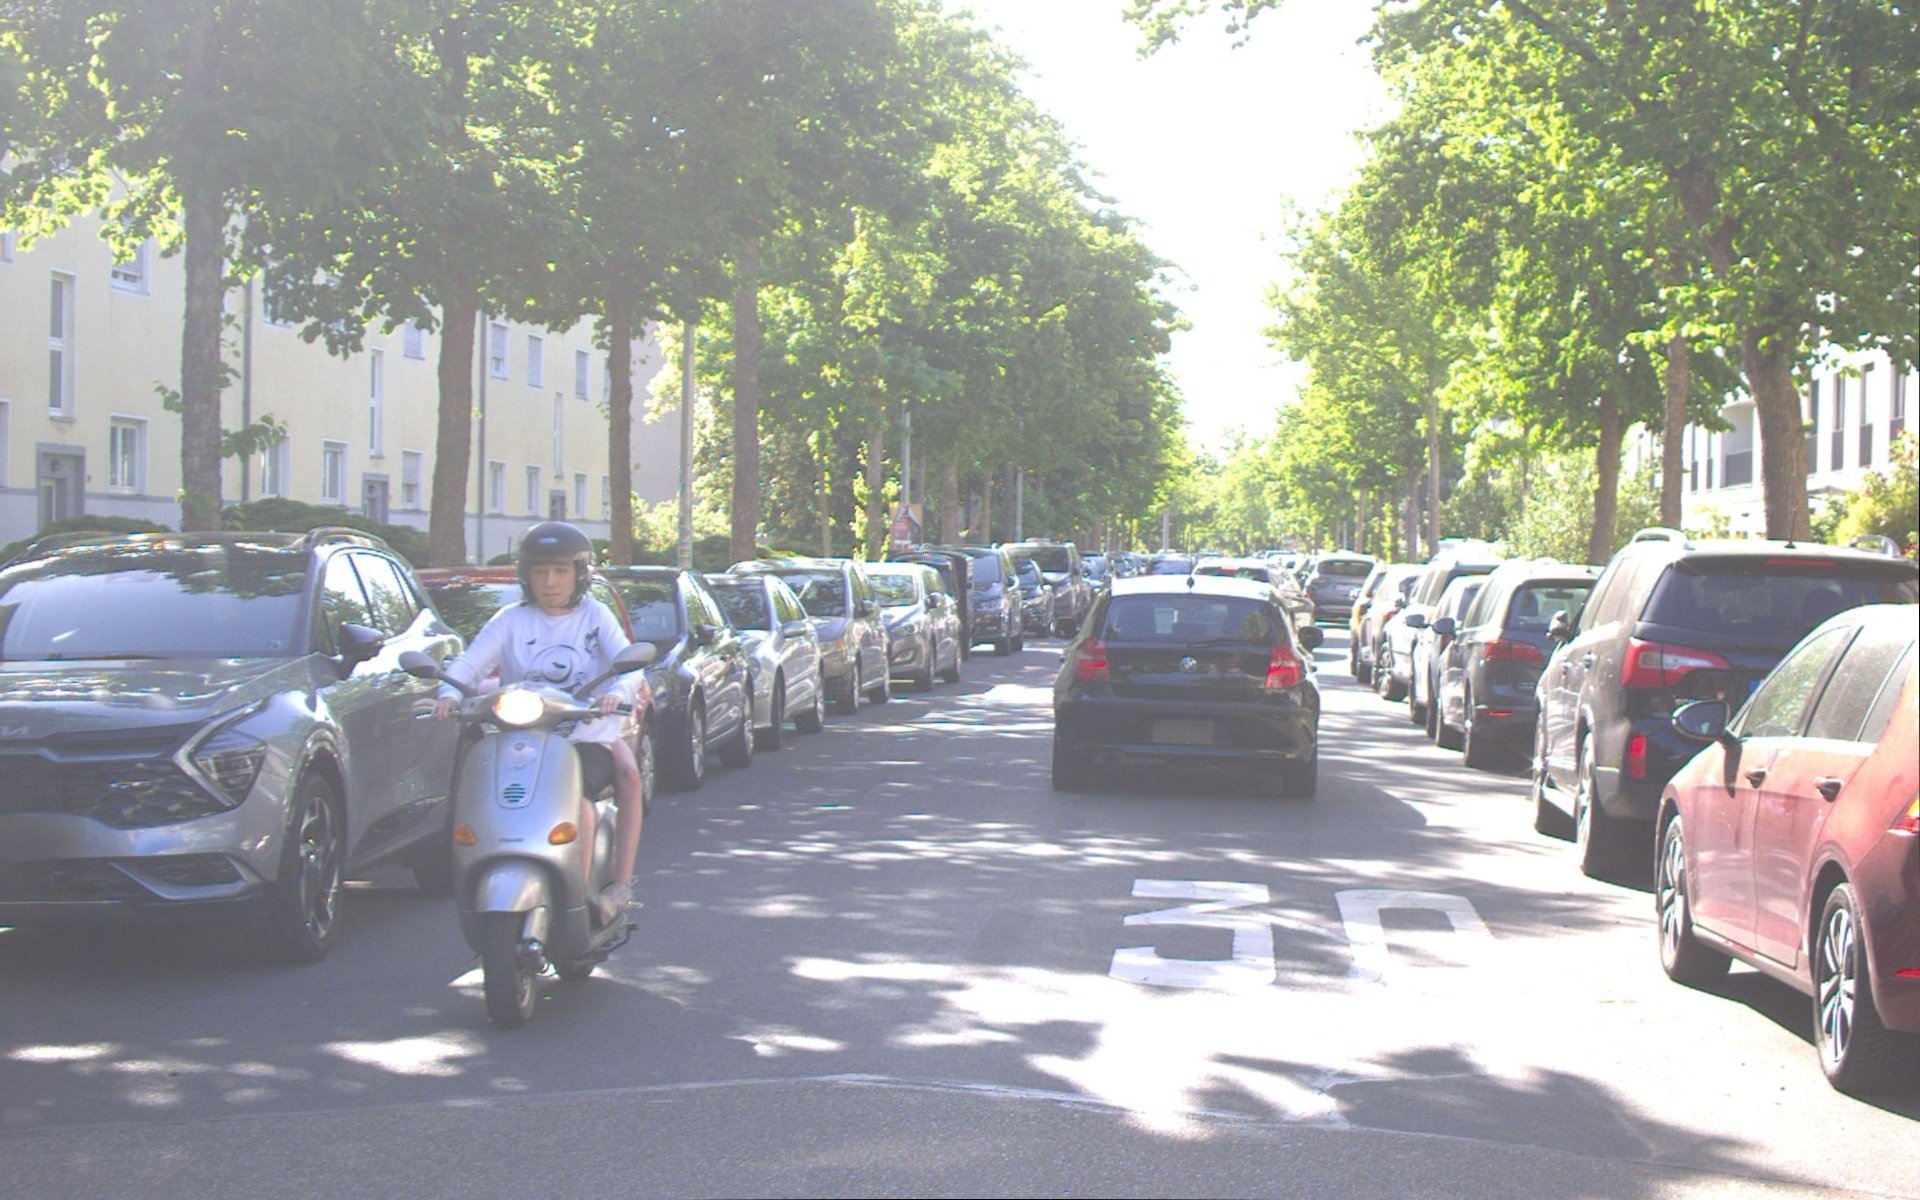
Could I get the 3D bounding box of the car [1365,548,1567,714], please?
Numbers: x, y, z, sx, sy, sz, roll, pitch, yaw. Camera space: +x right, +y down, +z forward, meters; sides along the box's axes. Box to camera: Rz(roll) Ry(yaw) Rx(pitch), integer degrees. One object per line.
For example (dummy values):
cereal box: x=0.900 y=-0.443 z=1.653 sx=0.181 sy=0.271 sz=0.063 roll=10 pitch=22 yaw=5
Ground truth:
car: x=5.377 y=0.283 z=36.901 sx=1.648 sy=1.650 sz=3.847 roll=1 pitch=1 yaw=1

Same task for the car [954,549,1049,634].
car: x=0.823 y=-0.179 z=65.926 sx=1.507 sy=1.543 sz=4.778 roll=-1 pitch=1 yaw=4

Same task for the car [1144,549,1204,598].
car: x=6.413 y=-0.809 z=102.892 sx=1.506 sy=1.421 sz=3.177 roll=1 pitch=1 yaw=8

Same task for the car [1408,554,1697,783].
car: x=4.672 y=0.476 z=27.691 sx=1.684 sy=1.582 sz=4.535 roll=3 pitch=1 yaw=3

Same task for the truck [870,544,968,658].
truck: x=-0.572 y=-0.007 z=49.400 sx=1.084 sy=1.572 sz=2.431 roll=1 pitch=1 yaw=7

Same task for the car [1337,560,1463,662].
car: x=6.568 y=0.138 z=51.598 sx=1.701 sy=1.444 sz=4.082 roll=0 pitch=1 yaw=5

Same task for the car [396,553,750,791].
car: x=-2.557 y=0.421 z=23.582 sx=1.665 sy=1.454 sz=3.932 roll=1 pitch=1 yaw=5

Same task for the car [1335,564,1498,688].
car: x=5.540 y=0.282 z=42.025 sx=1.649 sy=1.423 sz=3.612 roll=0 pitch=1 yaw=3

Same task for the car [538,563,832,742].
car: x=-2.227 y=0.380 z=29.050 sx=1.746 sy=1.364 sz=4.673 roll=0 pitch=1 yaw=5

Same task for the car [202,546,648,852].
car: x=-2.808 y=0.464 z=18.687 sx=1.665 sy=1.481 sz=3.256 roll=1 pitch=1 yaw=5

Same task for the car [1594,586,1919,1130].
car: x=3.294 y=0.696 z=11.391 sx=1.611 sy=1.405 sz=4.352 roll=1 pitch=1 yaw=1

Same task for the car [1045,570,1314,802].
car: x=1.478 y=0.518 z=23.019 sx=1.649 sy=1.392 sz=3.411 roll=1 pitch=1 yaw=4

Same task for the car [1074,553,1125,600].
car: x=4.685 y=-0.785 z=114.973 sx=1.612 sy=1.538 sz=3.865 roll=0 pitch=1 yaw=4

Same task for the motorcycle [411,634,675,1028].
motorcycle: x=-1.365 y=0.725 z=11.498 sx=0.552 sy=1.171 sz=1.632 roll=1 pitch=1 yaw=4

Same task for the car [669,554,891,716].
car: x=-1.763 y=0.311 z=34.969 sx=1.620 sy=1.510 sz=4.268 roll=-1 pitch=1 yaw=5

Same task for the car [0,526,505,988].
car: x=-3.146 y=0.489 z=14.116 sx=1.691 sy=1.559 sz=4.735 roll=1 pitch=1 yaw=3

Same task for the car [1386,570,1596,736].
car: x=4.918 y=0.444 z=32.282 sx=1.630 sy=1.420 sz=4.367 roll=0 pitch=1 yaw=5

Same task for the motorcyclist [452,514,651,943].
motorcyclist: x=-1.367 y=0.418 z=11.555 sx=0.552 sy=1.398 sz=0.519 roll=1 pitch=1 yaw=4

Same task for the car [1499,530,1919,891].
car: x=3.988 y=0.489 z=18.455 sx=1.781 sy=1.692 sz=4.297 roll=1 pitch=1 yaw=4

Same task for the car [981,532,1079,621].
car: x=1.587 y=-0.535 z=76.514 sx=1.826 sy=1.898 sz=5.141 roll=0 pitch=1 yaw=5

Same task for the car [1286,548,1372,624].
car: x=8.471 y=-0.324 z=78.908 sx=1.848 sy=1.625 sz=4.409 roll=2 pitch=0 yaw=6

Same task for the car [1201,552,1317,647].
car: x=4.715 y=-0.039 z=54.634 sx=1.649 sy=1.421 sz=4.001 roll=1 pitch=1 yaw=3

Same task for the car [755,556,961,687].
car: x=-1.134 y=0.212 z=40.549 sx=1.792 sy=1.439 sz=4.687 roll=0 pitch=1 yaw=6

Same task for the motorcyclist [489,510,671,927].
motorcyclist: x=-1.327 y=0.405 z=12.034 sx=0.544 sy=1.421 sz=0.404 roll=1 pitch=1 yaw=4

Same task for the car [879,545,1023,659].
car: x=-0.092 y=-0.009 z=54.007 sx=1.849 sy=1.675 sz=4.976 roll=-1 pitch=1 yaw=4

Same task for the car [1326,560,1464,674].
car: x=5.915 y=0.199 z=47.073 sx=1.637 sy=1.450 sz=4.099 roll=1 pitch=1 yaw=4
